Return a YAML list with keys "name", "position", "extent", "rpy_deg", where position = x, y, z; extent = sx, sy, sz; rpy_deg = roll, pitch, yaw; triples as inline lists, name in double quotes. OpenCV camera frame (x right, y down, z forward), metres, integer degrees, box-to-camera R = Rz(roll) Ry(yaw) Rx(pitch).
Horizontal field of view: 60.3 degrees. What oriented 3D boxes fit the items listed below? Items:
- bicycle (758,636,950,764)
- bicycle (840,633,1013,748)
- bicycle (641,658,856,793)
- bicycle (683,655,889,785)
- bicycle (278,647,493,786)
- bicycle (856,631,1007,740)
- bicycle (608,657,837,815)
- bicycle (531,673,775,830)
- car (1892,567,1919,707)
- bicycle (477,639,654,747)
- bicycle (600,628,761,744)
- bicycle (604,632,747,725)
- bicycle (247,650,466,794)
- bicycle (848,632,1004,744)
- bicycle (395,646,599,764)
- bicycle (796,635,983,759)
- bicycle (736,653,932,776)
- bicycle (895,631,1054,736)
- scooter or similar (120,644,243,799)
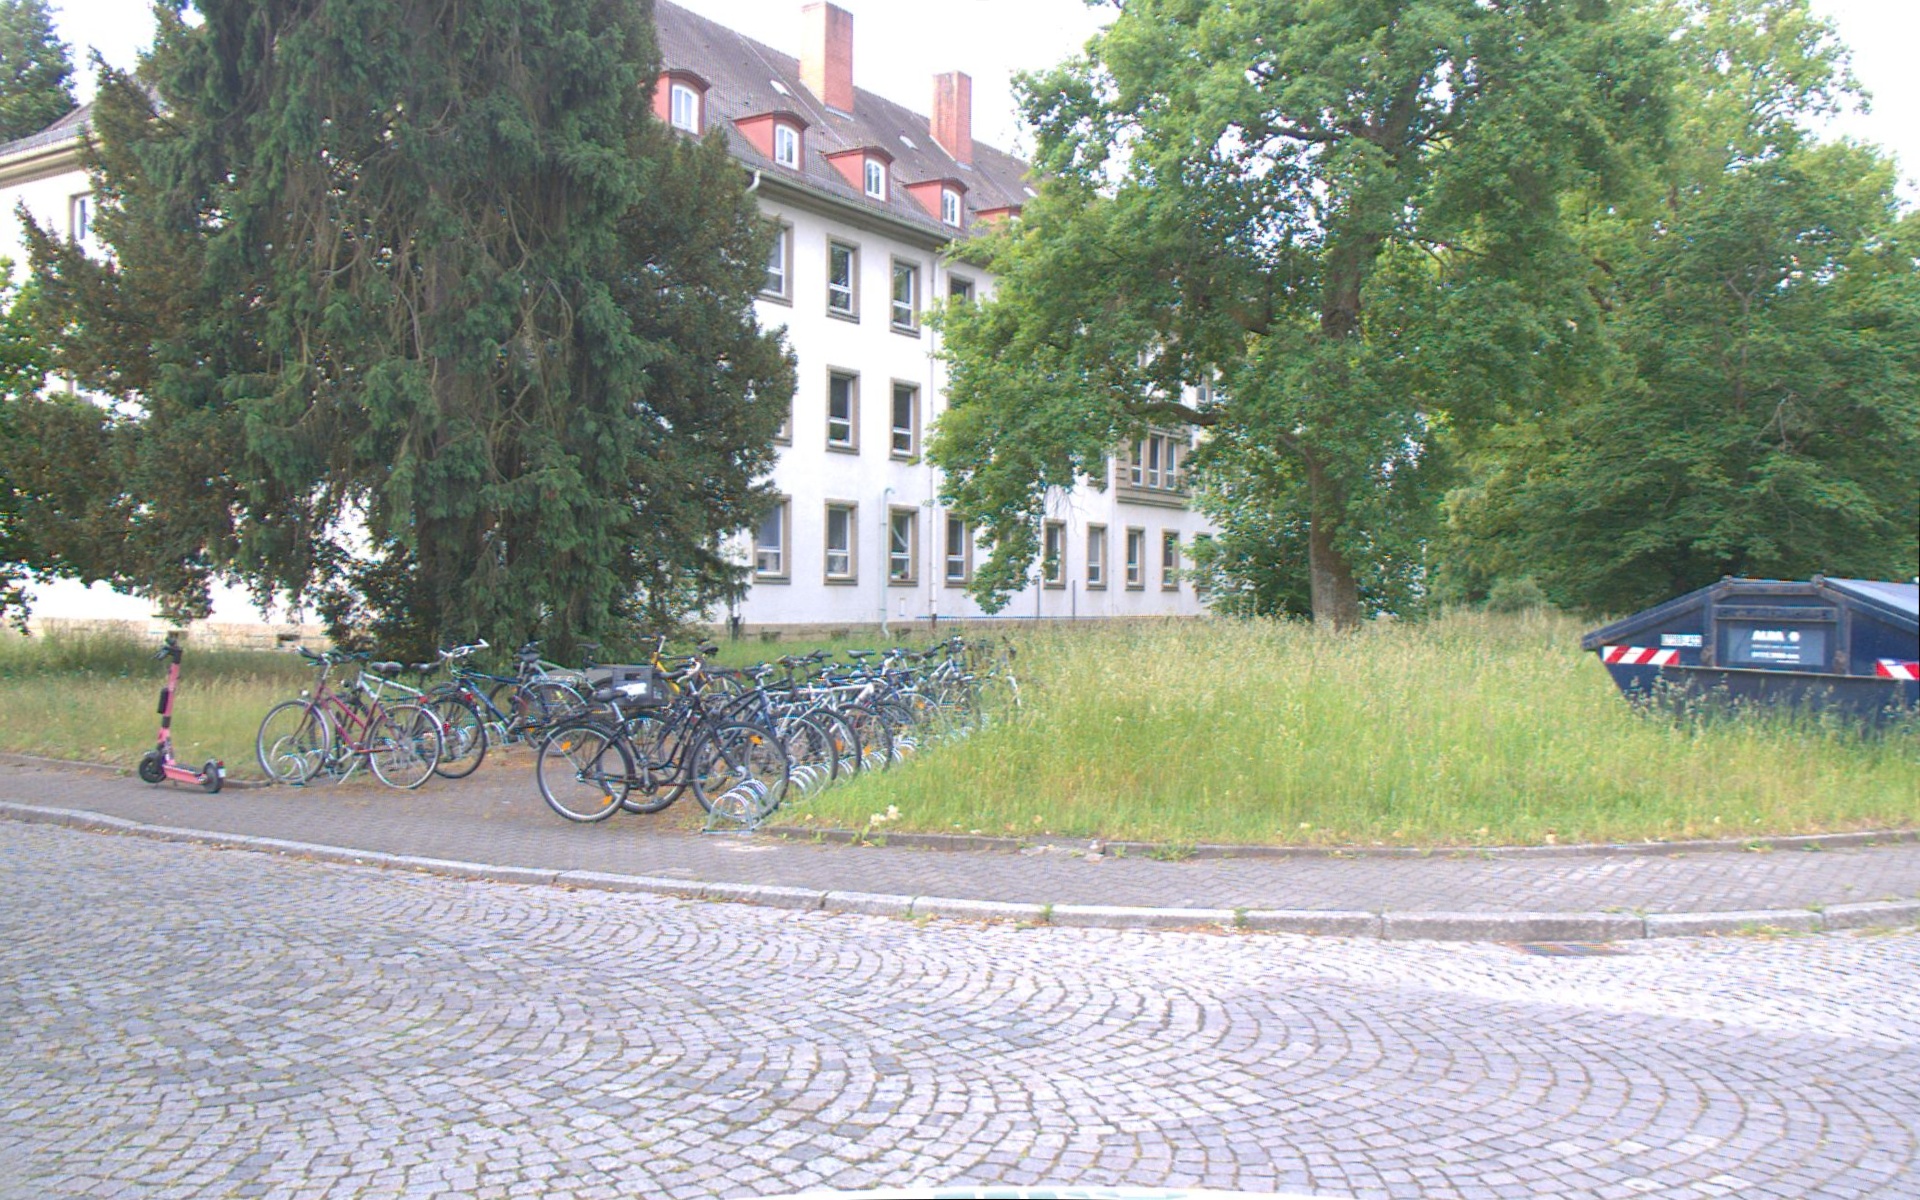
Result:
- name: "bicycle"
  position: [-0.989, 0.908, 15.381]
  extent: [1.722, 1.131, 0.478]
  rpy_deg: [0, 0, 17]
- name: "bicycle"
  position: [-0.348, 0.914, 17.083]
  extent: [1.722, 1.131, 0.478]
  rpy_deg: [0, 0, 17]
- name: "bicycle"
  position: [-1.685, 0.988, 13.147]
  extent: [1.627, 1.025, 0.478]
  rpy_deg: [-1, -1, 17]
- name: "bicycle"
  position: [-1.446, 0.991, 13.721]
  extent: [1.627, 1.025, 0.478]
  rpy_deg: [-1, -1, 17]
- name: "bicycle"
  position: [-5.000, 0.994, 14.405]
  extent: [1.761, 1.134, 0.552]
  rpy_deg: [0, 0, 15]
- name: "bicycle"
  position: [-0.317, 0.920, 18.110]
  extent: [1.613, 1.131, 0.442]
  rpy_deg: [0, 0, 23]
- name: "bicycle"
  position: [-1.728, 0.986, 12.132]
  extent: [1.583, 1.093, 0.478]
  rpy_deg: [-1, -1, 2]
- name: "bicycle"
  position: [-2.129, 1.049, 11.549]
  extent: [1.583, 1.025, 0.478]
  rpy_deg: [-1, -1, 2]
- name: "car"
  position: [16.360, 0.538, 23.686]
  extent: [5.165, 2.031, 1.963]
  rpy_deg: [0, 0, 33]
- name: "bicycle"
  position: [-4.131, 0.965, 17.358]
  extent: [1.711, 1.083, 0.552]
  rpy_deg: [0, 0, 7]
- name: "bicycle"
  position: [-3.036, 0.915, 17.933]
  extent: [1.714, 1.191, 0.551]
  rpy_deg: [0, 0, 25]
- name: "bicycle"
  position: [-3.426, 0.932, 19.924]
  extent: [1.643, 1.060, 0.552]
  rpy_deg: [0, 0, 19]
- name: "bicycle"
  position: [-5.075, 1.008, 13.913]
  extent: [1.726, 1.134, 0.552]
  rpy_deg: [0, 0, 15]
- name: "bicycle"
  position: [-0.363, 0.920, 17.553]
  extent: [1.613, 1.131, 0.442]
  rpy_deg: [0, 0, 23]
- name: "bicycle"
  position: [-4.445, 0.996, 15.909]
  extent: [1.781, 1.083, 0.619]
  rpy_deg: [0, 0, 7]
- name: "bicycle"
  position: [-0.667, 0.912, 15.808]
  extent: [1.722, 1.131, 0.478]
  rpy_deg: [0, 0, 11]
- name: "bicycle"
  position: [-1.100, 0.995, 14.417]
  extent: [1.627, 1.025, 0.478]
  rpy_deg: [-1, -1, 17]
- name: "bicycle"
  position: [0.162, 0.919, 18.524]
  extent: [1.722, 1.131, 0.478]
  rpy_deg: [0, 0, 17]
- name: "scooter or similar"
  position: [-6.533, 0.998, 13.873]
  extent: [1.112, 1.231, 0.357]
  rpy_deg: [0, 0, 29]
